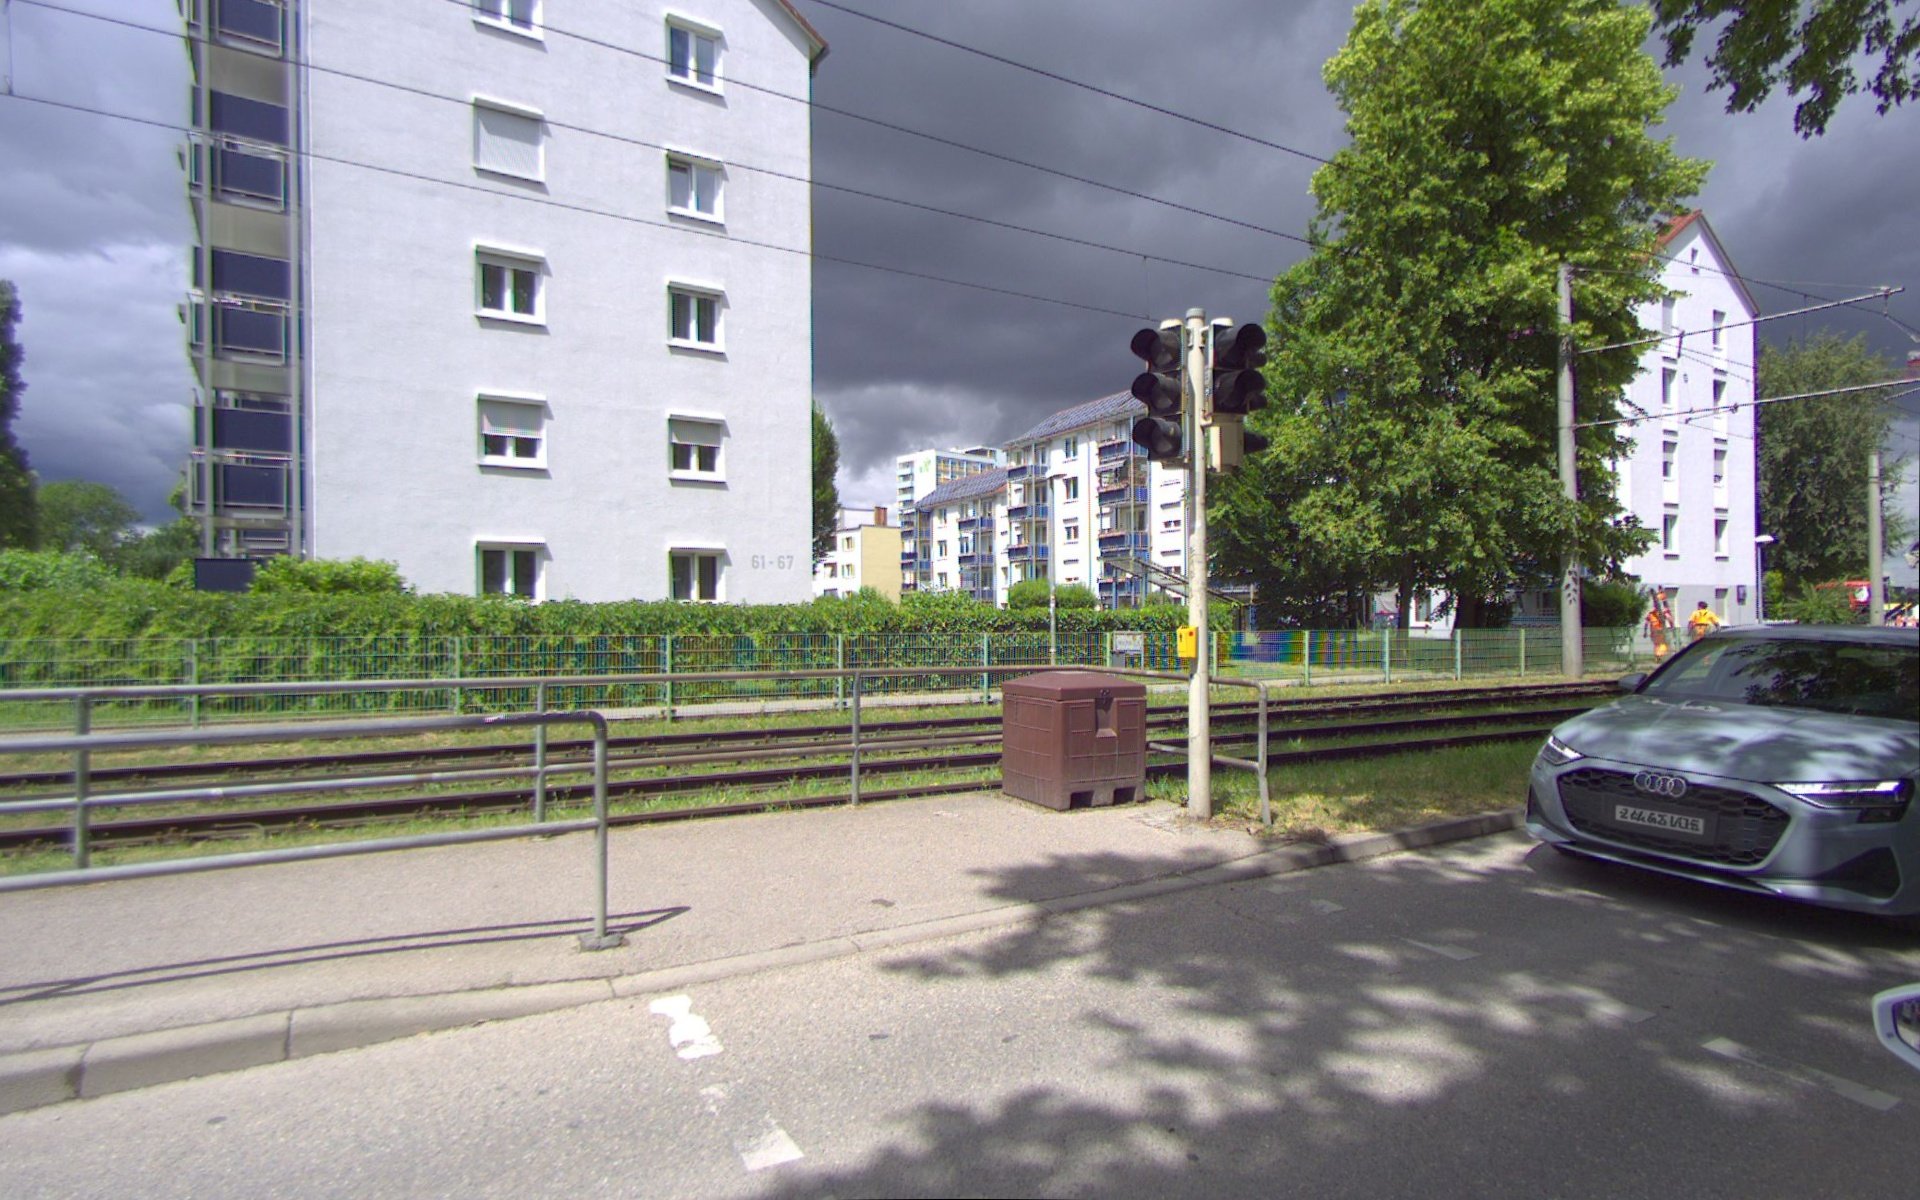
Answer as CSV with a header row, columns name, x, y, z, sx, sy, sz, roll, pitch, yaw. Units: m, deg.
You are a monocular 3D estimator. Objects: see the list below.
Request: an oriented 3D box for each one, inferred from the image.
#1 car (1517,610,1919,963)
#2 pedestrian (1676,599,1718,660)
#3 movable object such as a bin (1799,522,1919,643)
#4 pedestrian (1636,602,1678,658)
name,x,y,z,sx,sy,sz,roll,pitch,yaw
car,5.094,0.792,5.886,3.810,1.454,1.626,1,0,-33
pedestrian,21.385,0.838,29.155,0.857,1.741,0.696,0,0,-31
movable object such as a bin,44.970,-0.771,47.401,2.613,5.487,9.227,0,0,-4
pedestrian,20.653,0.880,29.766,0.857,1.647,0.728,0,0,-31
